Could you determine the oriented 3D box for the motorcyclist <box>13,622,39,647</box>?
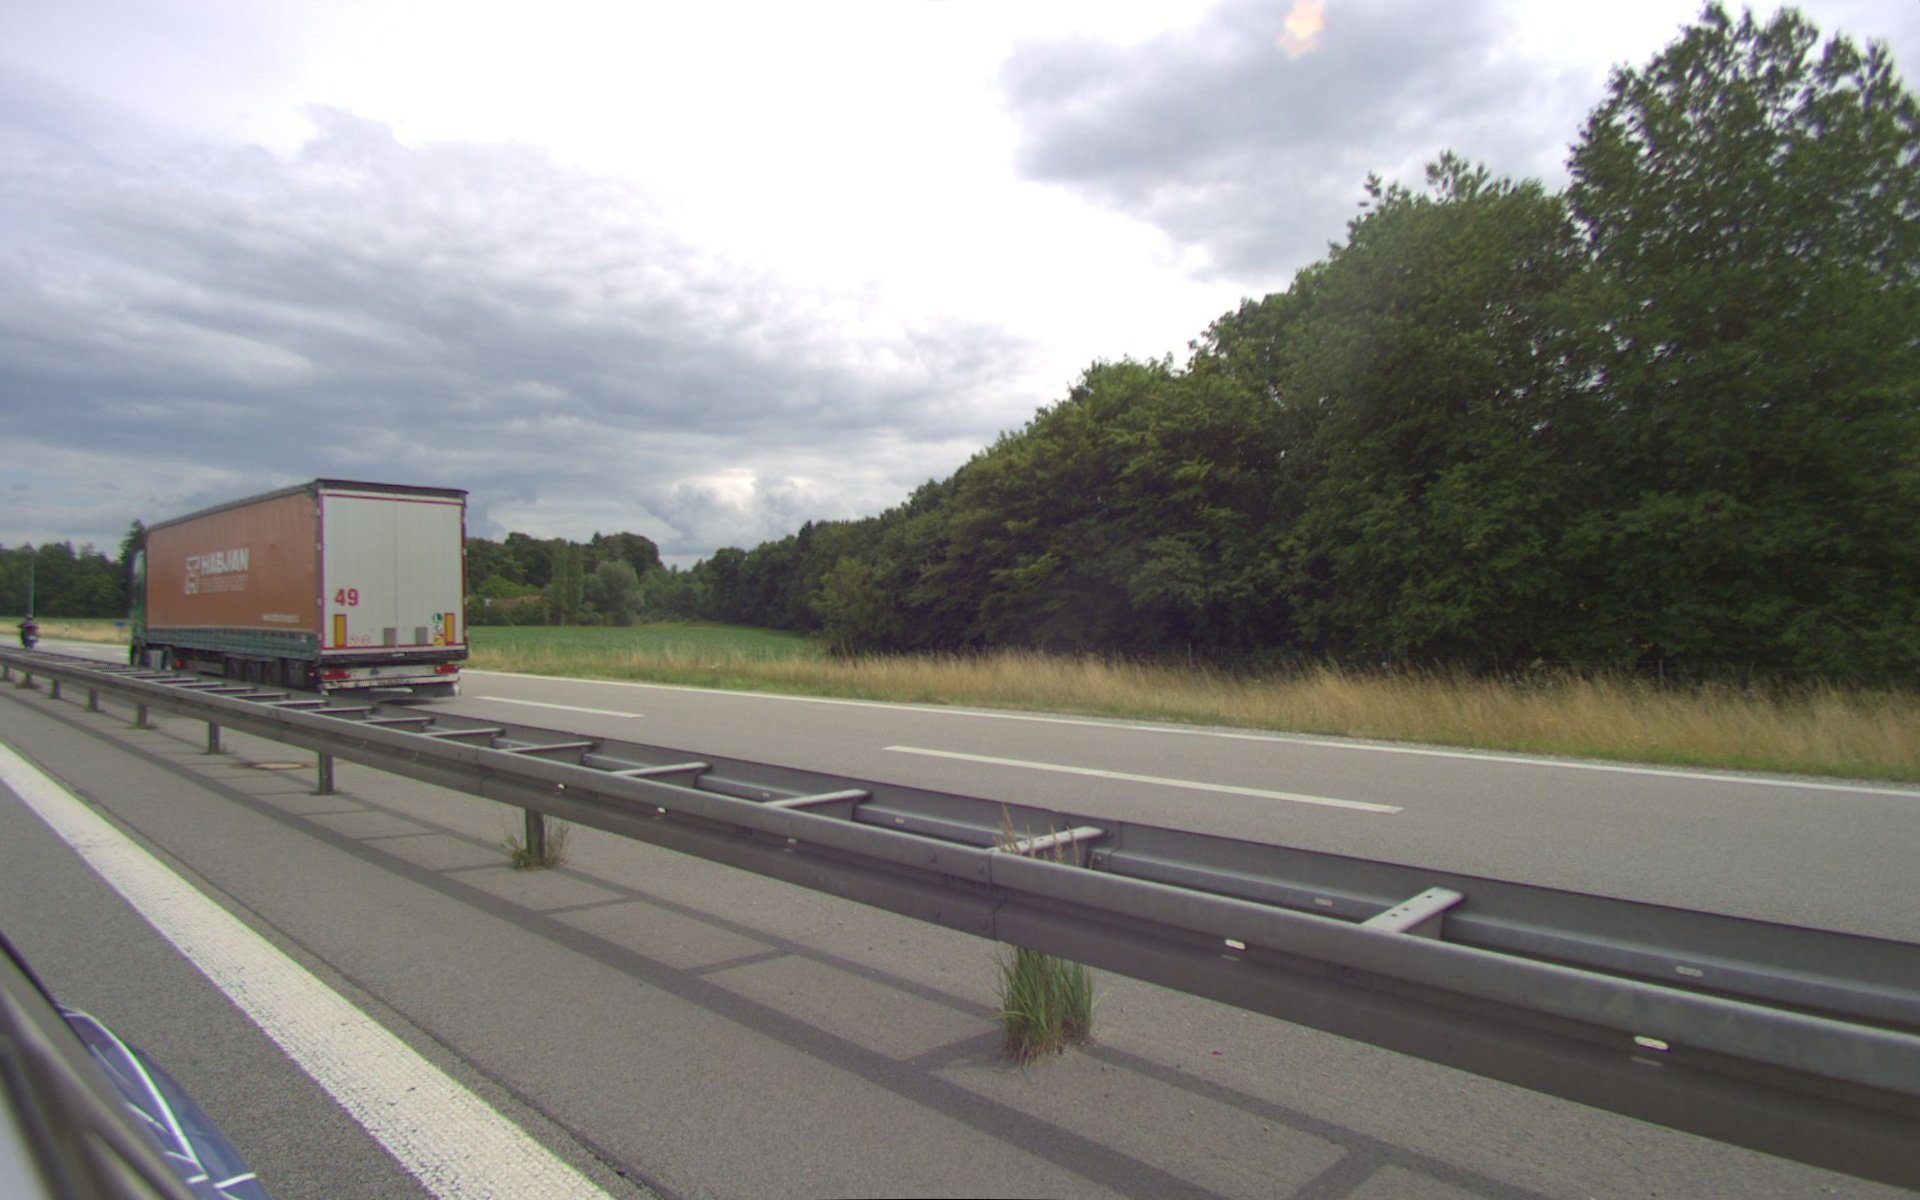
[{"bbox_3d":[-47.142,1.723,51.099,0.960,1.218,0.852,0,0,40],"label":"motorcyclist"}]

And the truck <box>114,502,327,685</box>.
[{"bbox_3d":[-19.718,-0.165,26.838,6.777,4.244,3.091,0,0,41],"label":"truck"}]

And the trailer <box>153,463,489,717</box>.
[{"bbox_3d":[-14.365,-0.176,22.042,11.639,4.244,3.117,0,1,42],"label":"trailer"}]

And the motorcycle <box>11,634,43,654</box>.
[{"bbox_3d":[-47.104,2.189,51.074,2.722,0.941,0.846,-1,0,41],"label":"motorcycle"}]
